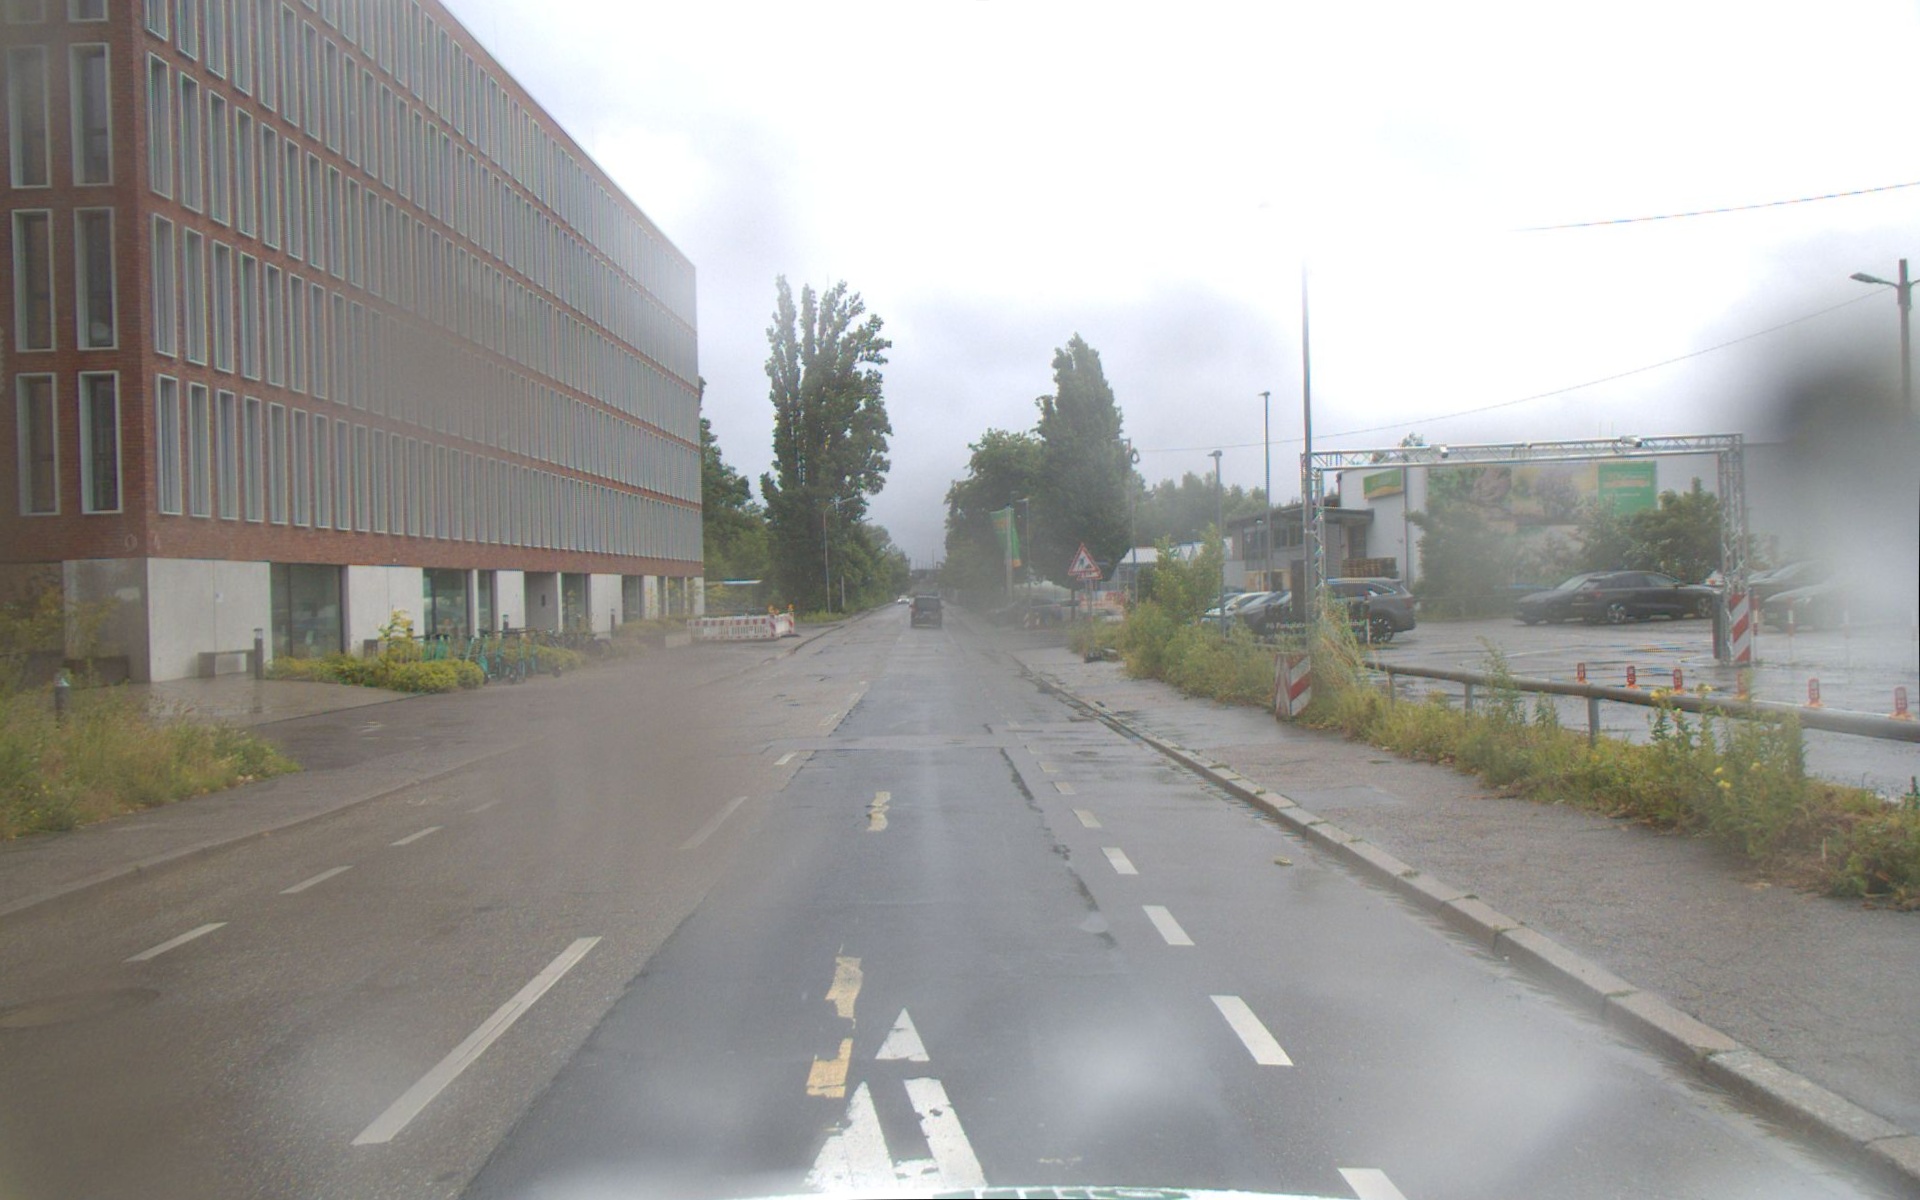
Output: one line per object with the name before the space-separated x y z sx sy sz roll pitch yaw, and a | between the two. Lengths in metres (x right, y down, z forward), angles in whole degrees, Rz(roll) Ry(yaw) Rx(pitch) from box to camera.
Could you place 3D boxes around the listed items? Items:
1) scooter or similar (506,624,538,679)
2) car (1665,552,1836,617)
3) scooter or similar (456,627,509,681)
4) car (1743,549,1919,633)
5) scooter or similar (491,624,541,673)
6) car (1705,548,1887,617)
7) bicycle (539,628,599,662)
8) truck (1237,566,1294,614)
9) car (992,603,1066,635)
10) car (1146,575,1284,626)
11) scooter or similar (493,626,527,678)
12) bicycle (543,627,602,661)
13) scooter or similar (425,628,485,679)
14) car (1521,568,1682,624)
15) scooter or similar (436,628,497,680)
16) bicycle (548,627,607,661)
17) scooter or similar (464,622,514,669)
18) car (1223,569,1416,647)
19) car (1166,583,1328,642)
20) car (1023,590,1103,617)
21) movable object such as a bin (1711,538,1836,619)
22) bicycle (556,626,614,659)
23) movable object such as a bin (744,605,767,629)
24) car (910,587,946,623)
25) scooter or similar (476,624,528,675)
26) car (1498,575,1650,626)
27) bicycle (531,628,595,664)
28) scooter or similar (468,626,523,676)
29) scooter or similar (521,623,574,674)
scooter or similar | -10.588 1.240 39.998 0.457 1.251 1.320 -2 0 -4
car | 24.969 -0.478 52.357 4.354 1.701 2.042 -4 -1 -4
scooter or similar | -11.357 1.285 39.330 1.295 1.251 0.506 -2 0 38
car | 20.043 -0.192 36.582 4.531 1.746 2.016 -1 -1 -7
scooter or similar | -11.762 1.287 43.851 0.459 1.229 1.201 -2 0 41
car | 25.097 -0.516 49.749 4.354 1.701 2.042 -4 -1 -4
bicycle | -12.646 1.455 53.482 1.822 1.096 0.544 0 0 -2
truck | 18.536 -0.630 100.757 2.253 2.705 7.418 -3 0 2
car | 3.870 1.065 92.547 4.050 1.596 1.765 -2 -1 1
car | 8.151 0.029 53.057 4.096 1.536 1.890 -1 -1 -1
scooter or similar | -11.228 1.287 41.239 0.461 1.251 1.308 -2 0 -29
bicycle | -12.655 1.447 54.059 1.822 1.096 0.544 0 0 -2
scooter or similar | -12.460 1.320 40.824 1.289 1.198 0.468 -3 0 4
car | 18.672 -0.107 48.260 3.905 1.511 2.000 -1 -1 0
scooter or similar | -12.011 1.308 40.289 1.289 1.198 0.468 -3 0 4
bicycle | -12.700 1.452 54.943 1.822 1.096 0.544 0 0 -2
scooter or similar | -13.016 1.254 45.696 1.200 1.229 0.418 -3 0 6
car | 9.304 0.222 43.122 4.583 1.765 2.129 -3 -1 3
car | 8.017 0.365 46.456 4.208 1.543 1.819 -1 -1 -1
car | 6.183 0.198 99.813 4.609 1.488 1.889 -1 0 -3
movable object such as a bin | 32.218 -0.839 65.588 3.906 3.045 1.999 -1 0 -2
bicycle | -12.651 1.442 55.826 1.822 1.096 0.544 0 0 -2
movable object such as a bin | -11.778 0.966 95.255 1.271 1.331 1.446 -2 0 -7
car | -1.847 0.280 95.321 1.953 1.943 4.199 -2 0 -2
scooter or similar | -11.915 1.276 43.022 0.459 1.251 1.201 -2 0 41
car | 18.766 0.035 50.695 3.905 1.434 2.000 -1 -1 0
bicycle | -12.610 1.457 52.559 1.909 1.096 0.620 0 0 -2
scooter or similar | -11.838 1.290 42.178 1.294 1.198 0.466 -3 0 -13
scooter or similar | -10.609 1.252 42.518 1.291 1.251 0.467 -2 0 28
